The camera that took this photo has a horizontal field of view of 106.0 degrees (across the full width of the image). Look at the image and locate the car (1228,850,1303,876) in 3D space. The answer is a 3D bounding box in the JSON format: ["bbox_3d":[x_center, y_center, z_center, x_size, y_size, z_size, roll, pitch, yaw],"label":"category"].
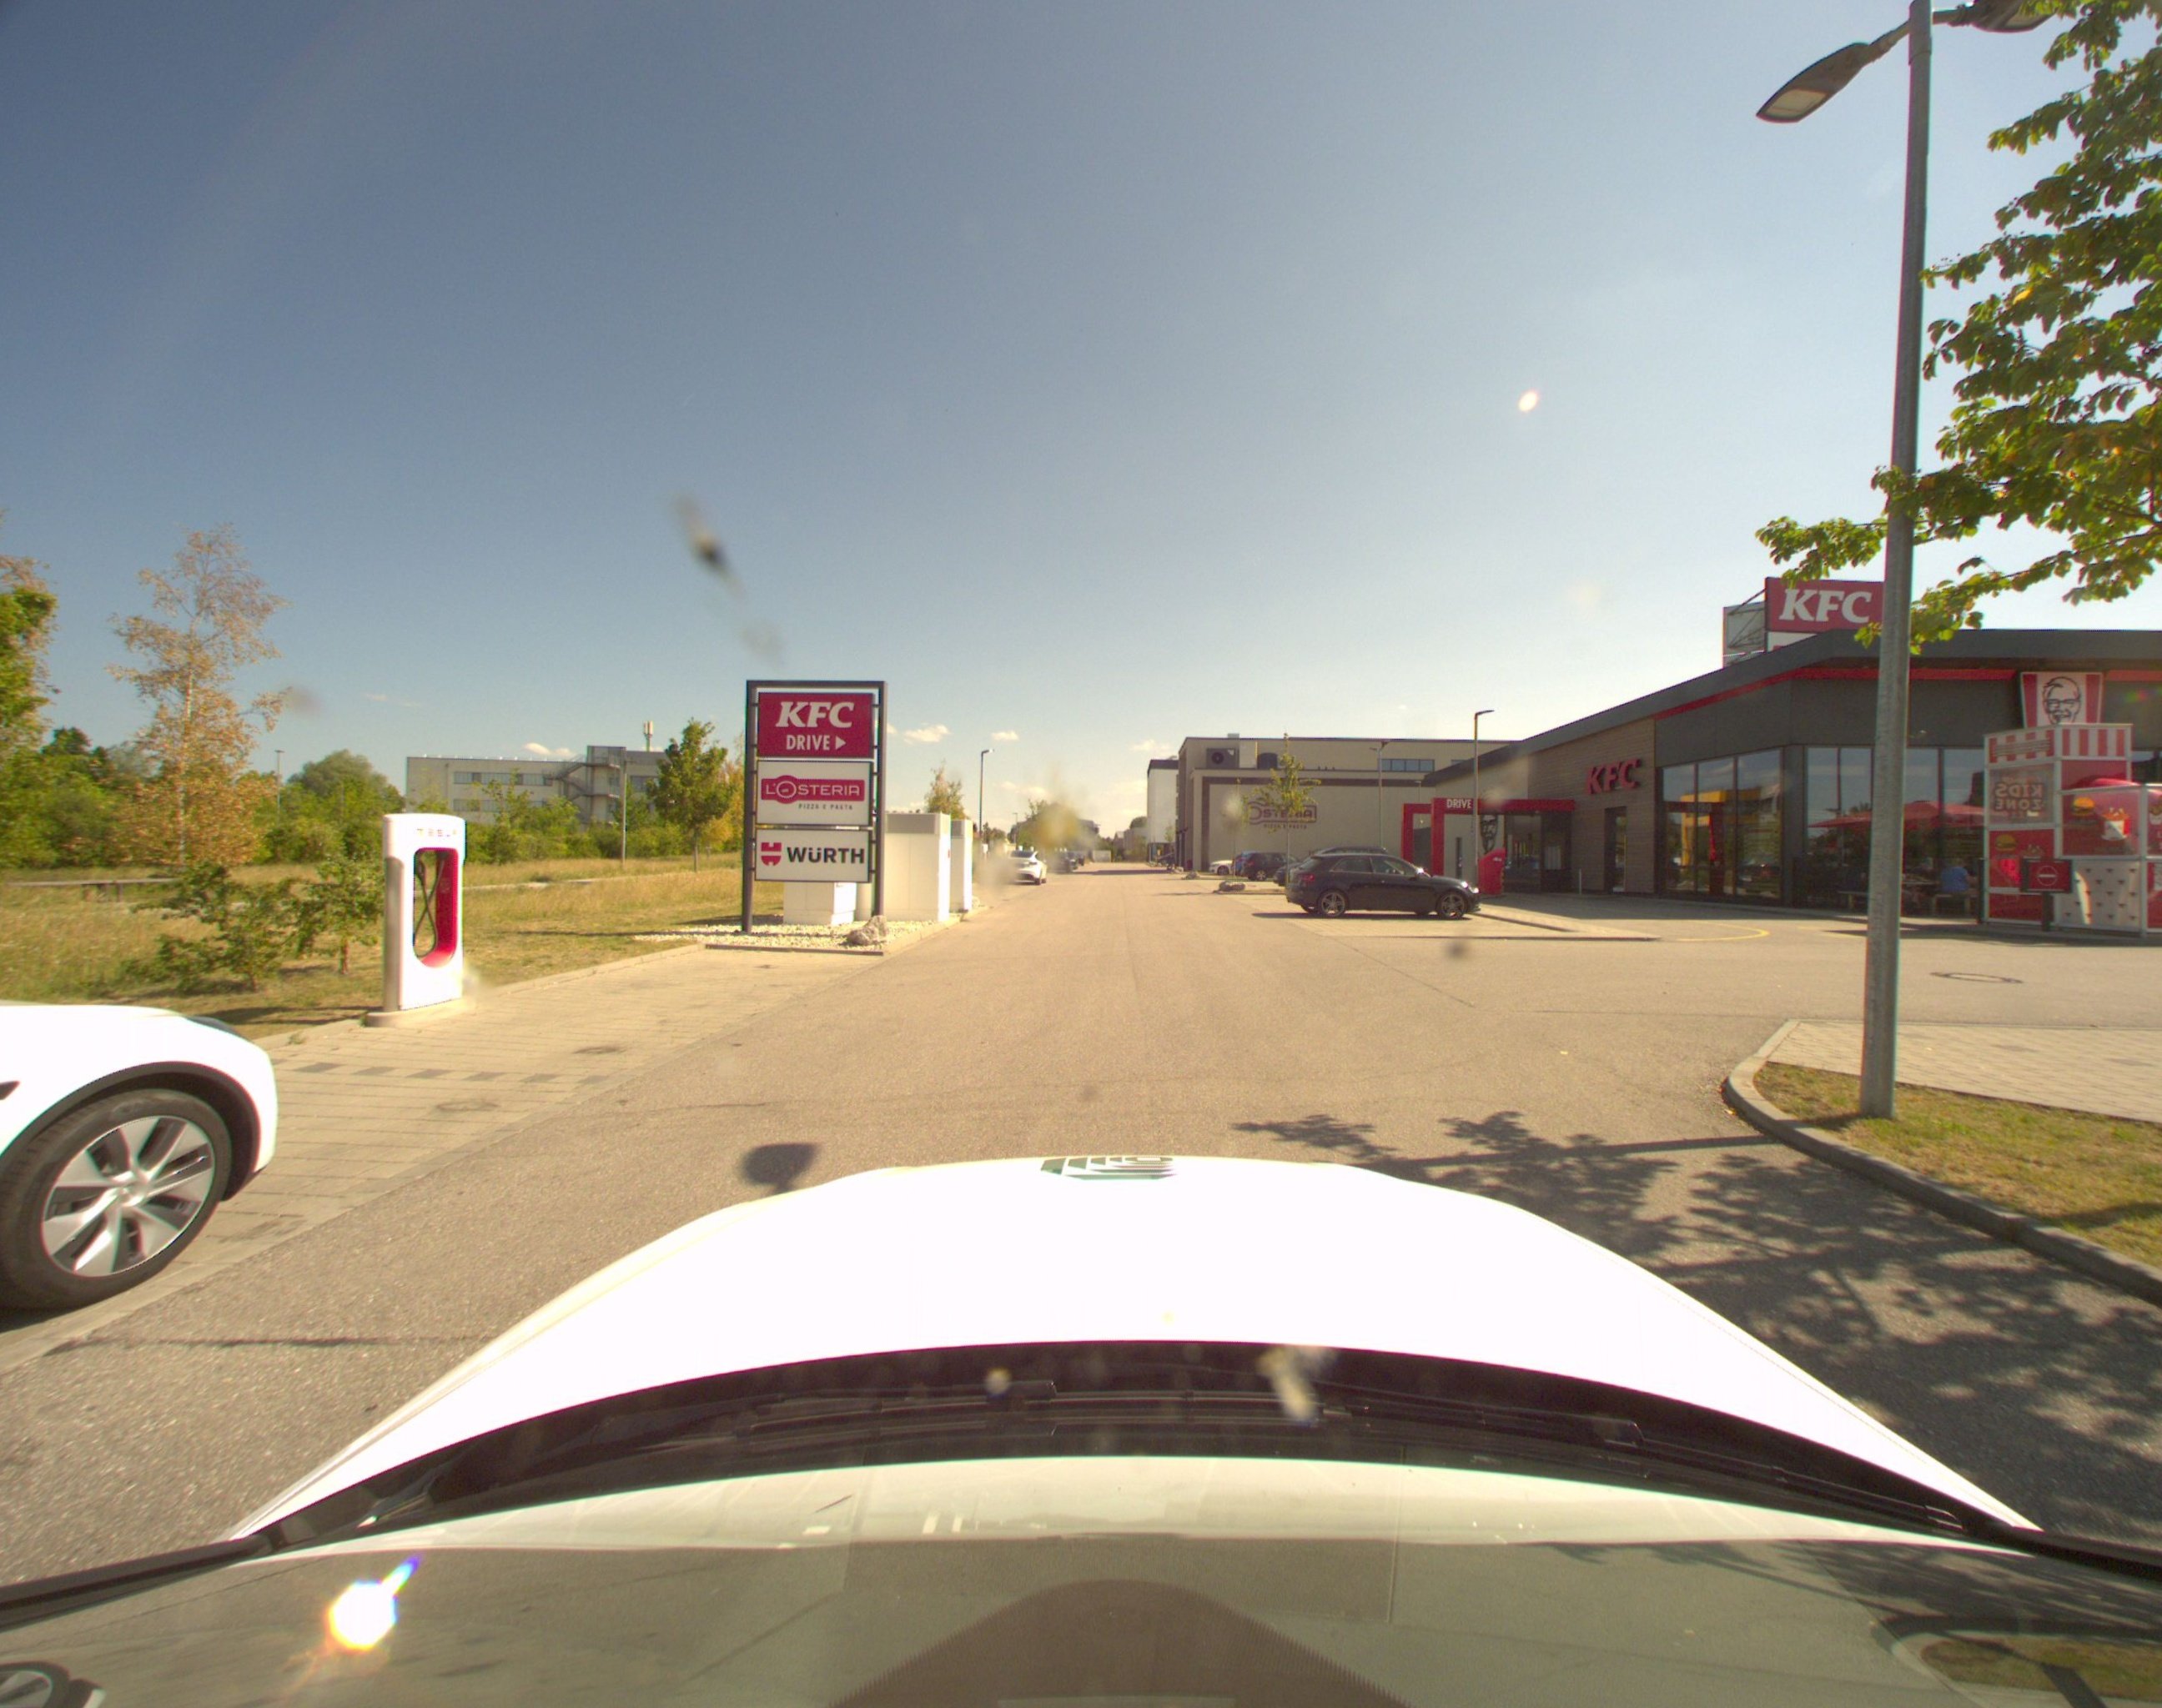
[{"bbox_3d":[10.675,0.508,47.358,3.975,1.420,1.650,1,0,-2],"label":"car"}]

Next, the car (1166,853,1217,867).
[{"bbox_3d":[9.015,0.475,66.714,3.973,1.156,2.000,0,0,0],"label":"car"}]

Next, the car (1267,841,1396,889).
[{"bbox_3d":[9.330,0.410,30.512,4.360,1.685,1.640,1,0,-3],"label":"car"}]

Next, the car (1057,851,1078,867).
[{"bbox_3d":[-1.214,0.428,72.803,1.737,1.387,4.000,1,0,1],"label":"car"}]

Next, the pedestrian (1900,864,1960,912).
[{"bbox_3d":[19.441,0.775,18.659,0.713,1.071,0.629,0,0,-1],"label":"pedestrian"}]

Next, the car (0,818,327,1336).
[{"bbox_3d":[-4.259,0.675,1.314,1.858,1.600,4.488,1,0,0],"label":"car"}]

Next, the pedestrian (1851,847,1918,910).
[{"bbox_3d":[18.485,0.551,18.745,0.795,1.435,0.772,0,0,-1],"label":"pedestrian"}]

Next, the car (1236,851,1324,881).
[{"bbox_3d":[9.836,0.577,40.377,3.975,1.420,1.650,1,0,-2],"label":"car"}]

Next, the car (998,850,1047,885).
[{"bbox_3d":[-2.793,0.624,39.745,1.937,1.568,4.002,1,0,2],"label":"car"}]

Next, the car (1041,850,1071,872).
[{"bbox_3d":[-1.833,0.502,61.191,1.937,1.568,4.003,1,0,3],"label":"car"}]

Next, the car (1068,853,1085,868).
[{"bbox_3d":[-0.475,0.674,90.014,1.737,1.568,4.000,1,0,1],"label":"car"}]

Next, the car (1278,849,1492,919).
[{"bbox_3d":[6.709,0.637,18.294,4.185,1.441,1.699,1,0,1],"label":"car"}]

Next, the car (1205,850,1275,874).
[{"bbox_3d":[9.729,0.472,50.070,3.975,1.420,1.650,1,0,-2],"label":"car"}]
